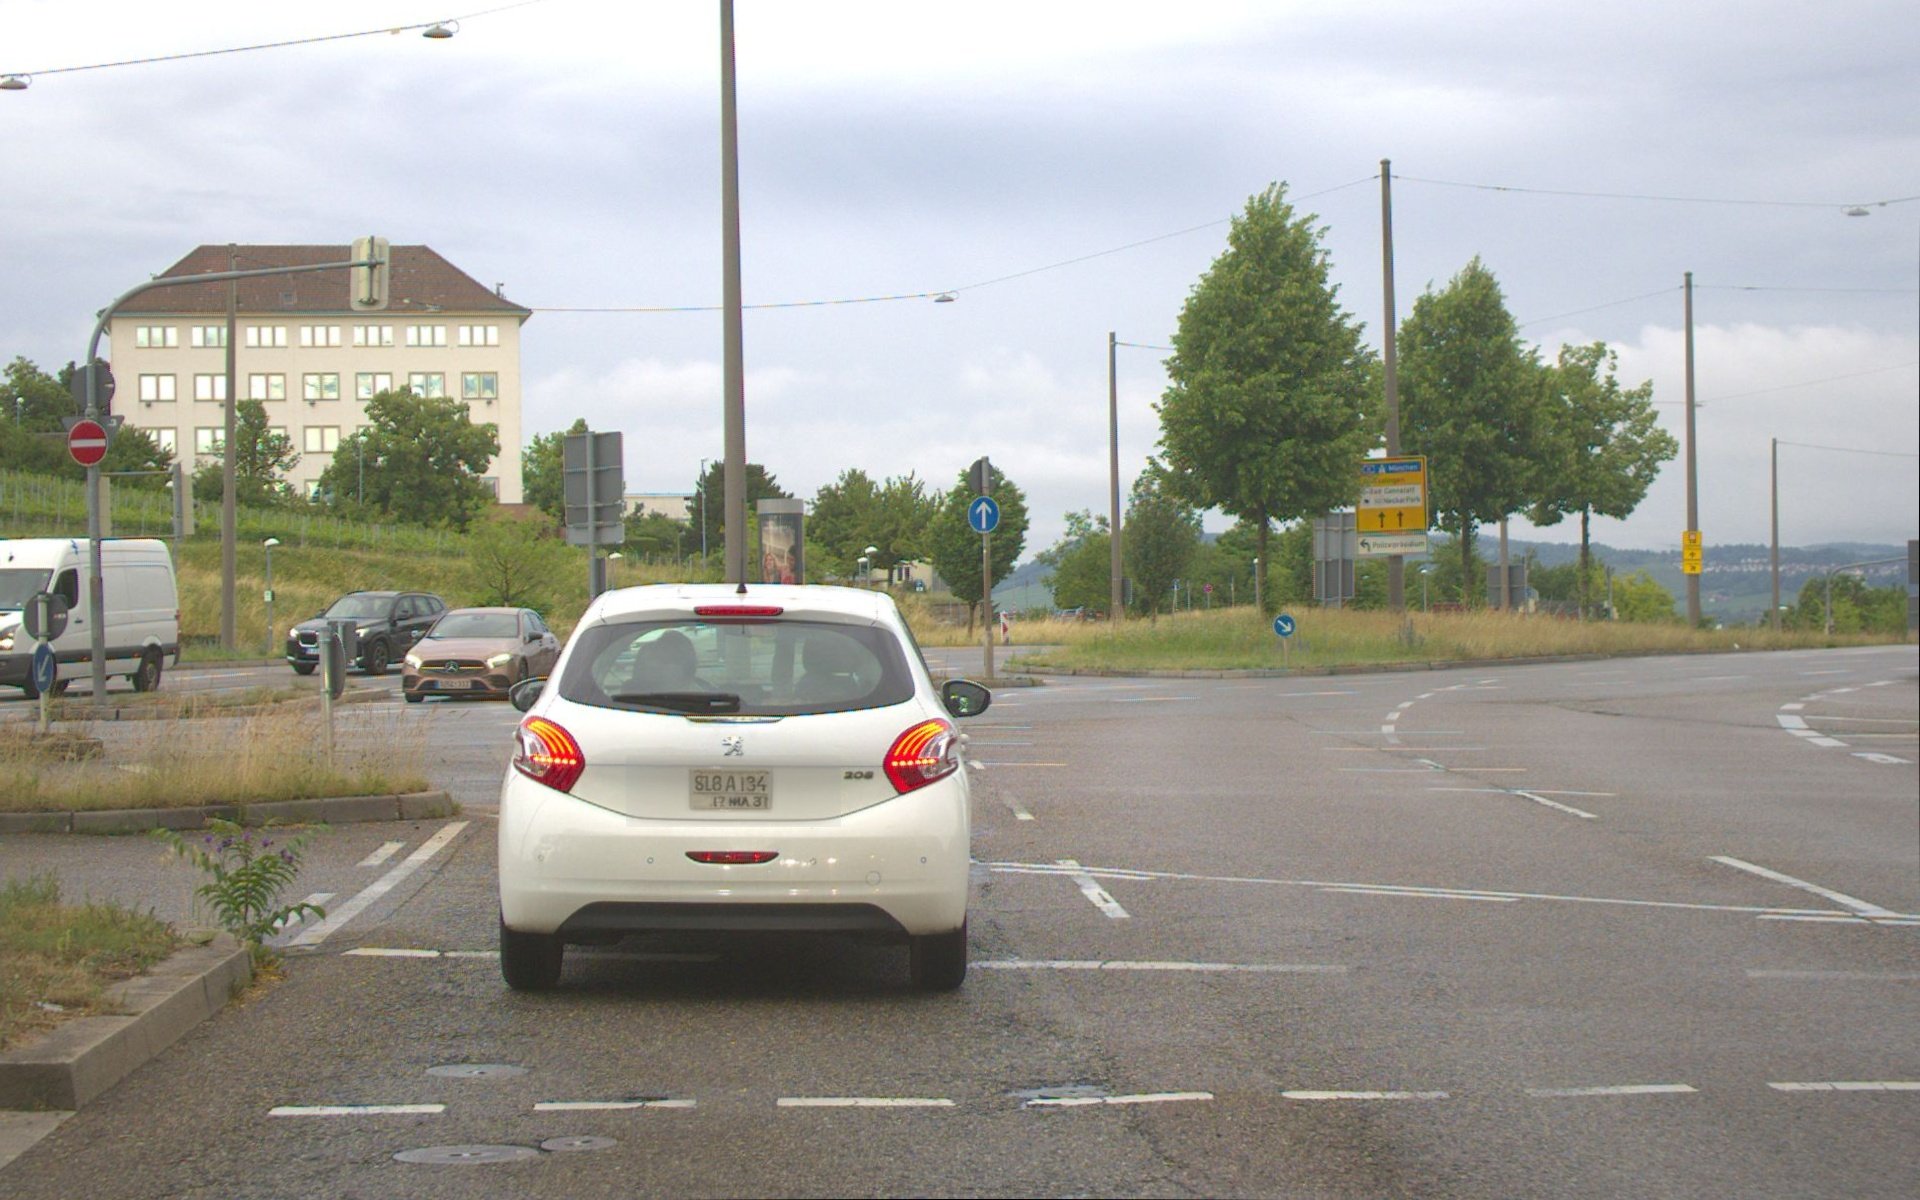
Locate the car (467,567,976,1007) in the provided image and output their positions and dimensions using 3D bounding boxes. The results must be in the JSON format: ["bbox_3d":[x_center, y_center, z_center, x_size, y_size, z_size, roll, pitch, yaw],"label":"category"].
[{"bbox_3d":[-0.854,0.633,13.646,1.717,1.484,4.000,0,0,-1],"label":"car"}]

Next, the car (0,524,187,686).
[{"bbox_3d":[-15.136,0.074,57.317,1.994,2.550,6.166,1,0,11],"label":"car"}]

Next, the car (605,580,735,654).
[{"bbox_3d":[-6.165,0.363,73.521,1.751,1.507,3.998,1,0,11],"label":"car"}]

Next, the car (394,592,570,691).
[{"bbox_3d":[-7.301,0.621,52.911,1.776,1.420,4.373,-1,0,4],"label":"car"}]

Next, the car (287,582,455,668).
[{"bbox_3d":[-11.735,0.485,68.799,1.776,1.630,4.506,1,0,11],"label":"car"}]

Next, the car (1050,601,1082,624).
[{"bbox_3d":[7.273,0.854,236.187,1.841,1.481,4.000,-1,0,-3],"label":"car"}]
